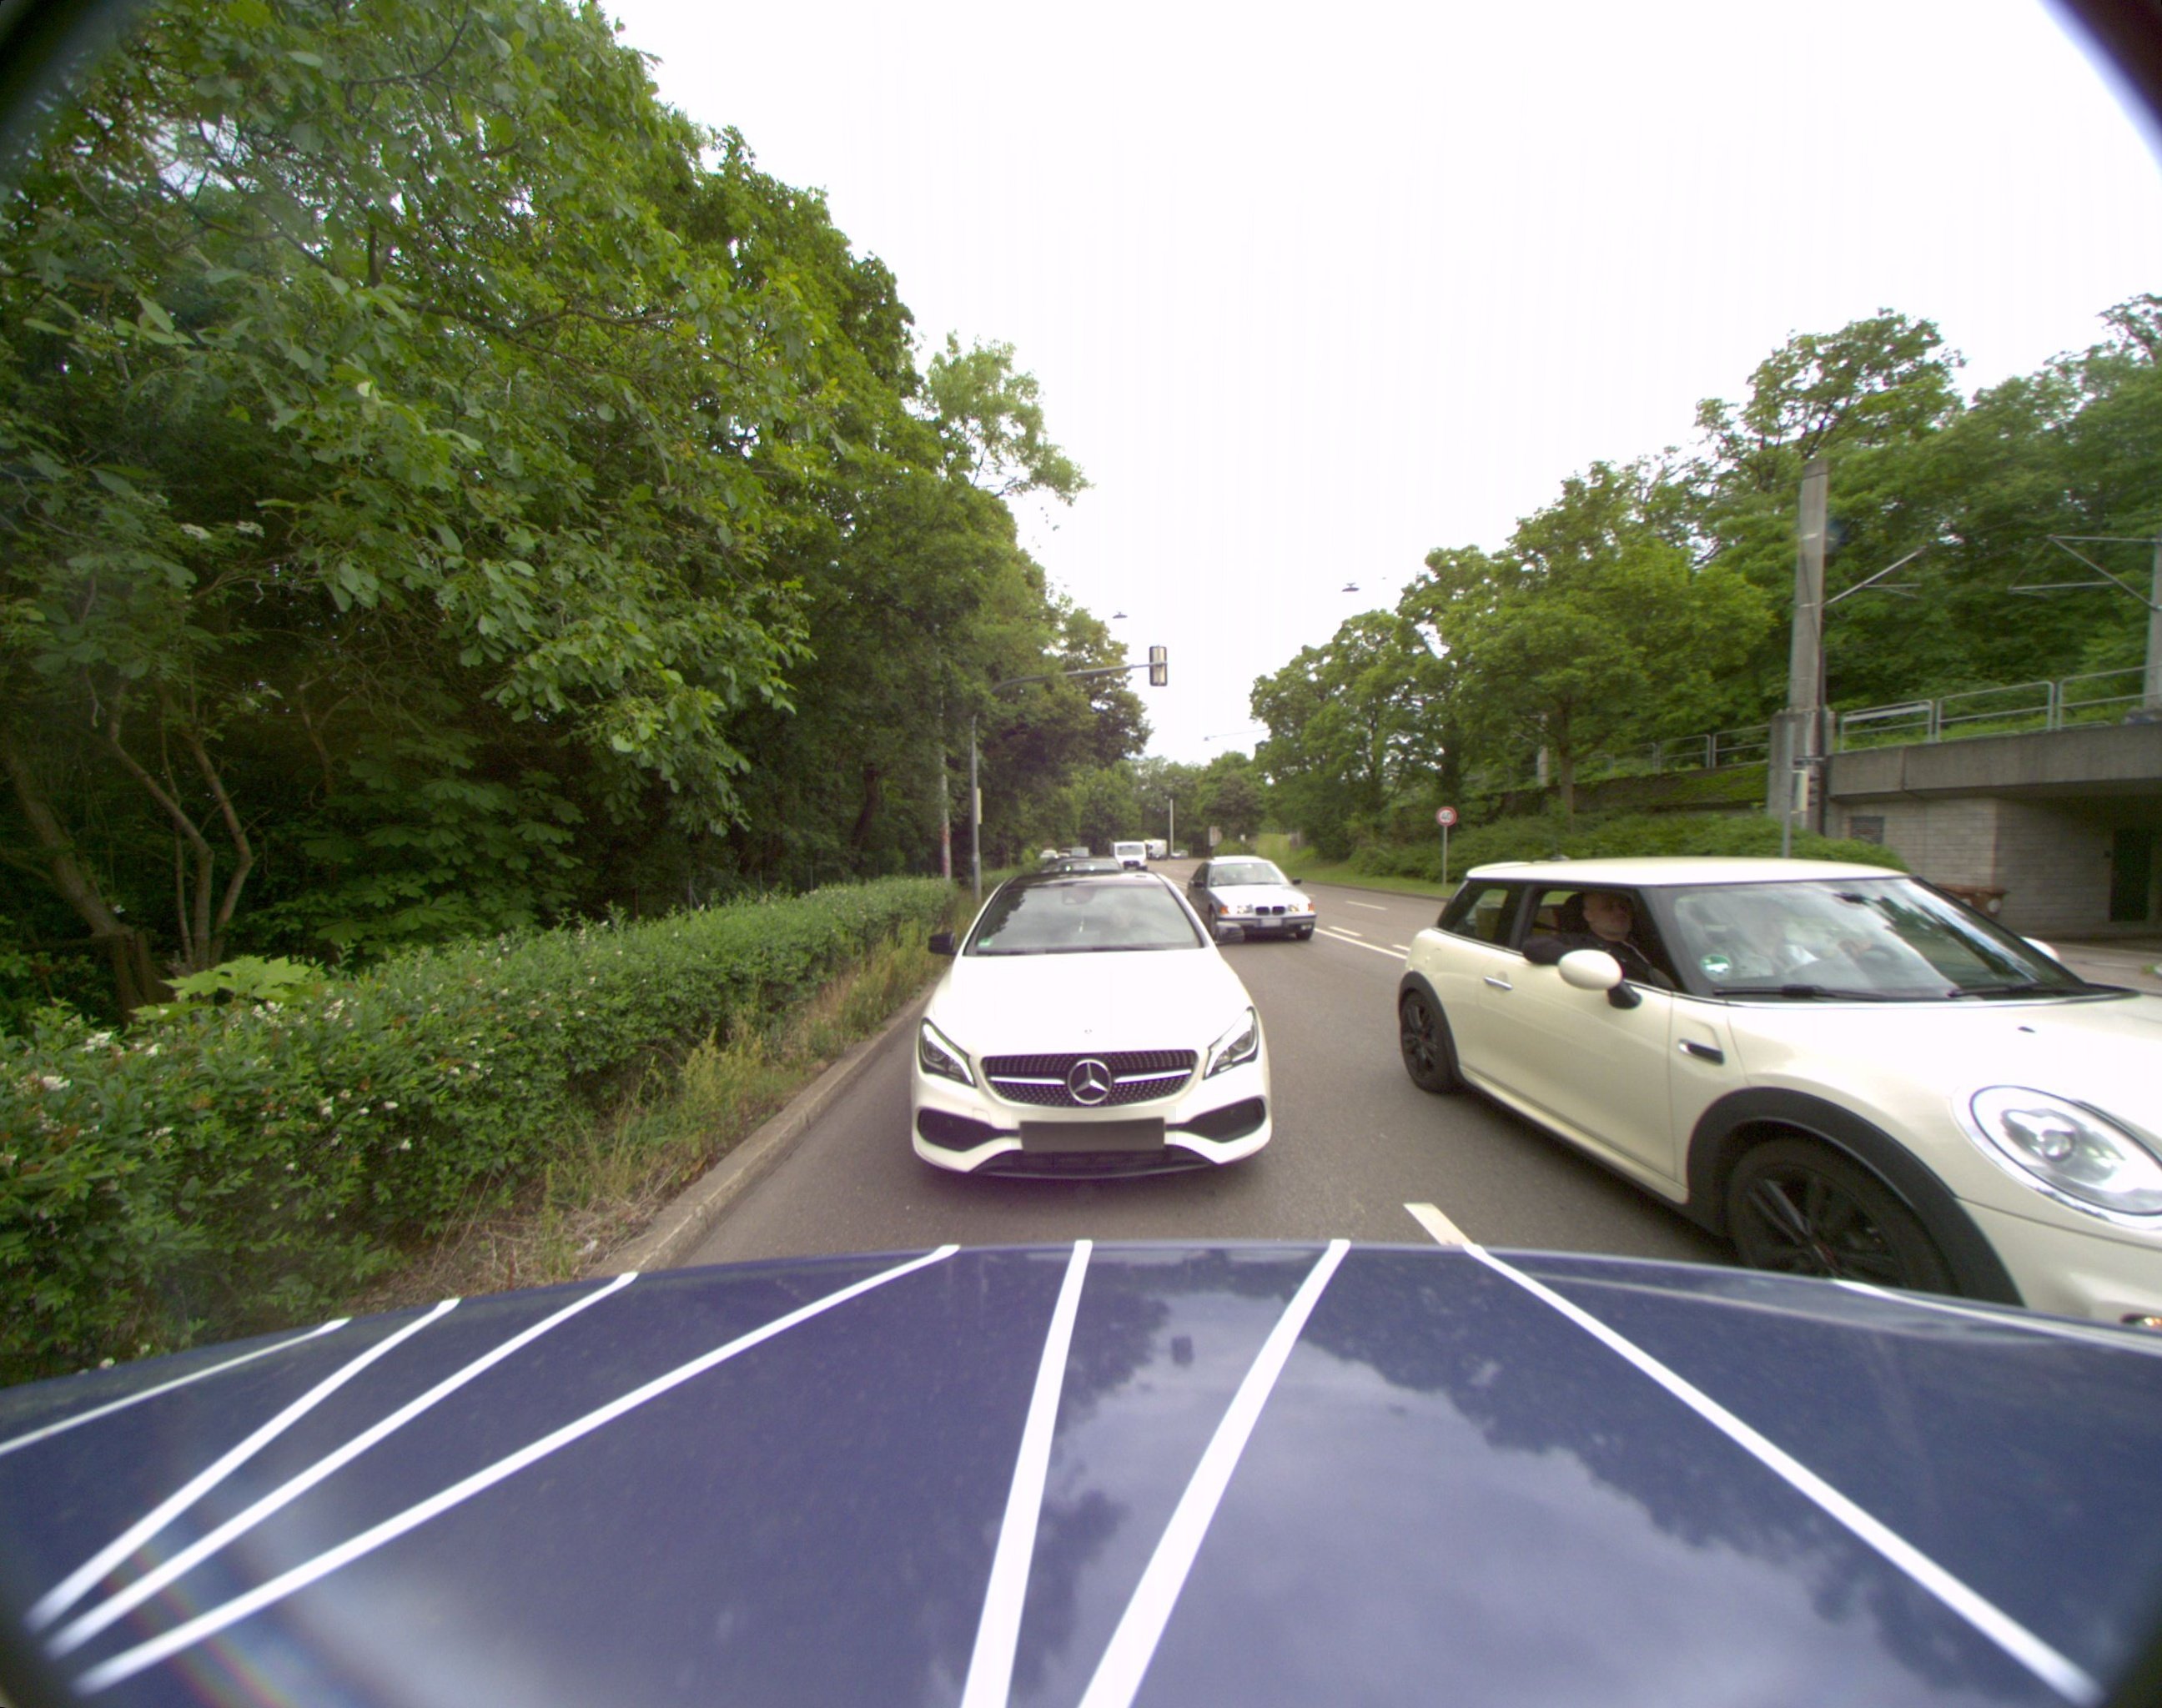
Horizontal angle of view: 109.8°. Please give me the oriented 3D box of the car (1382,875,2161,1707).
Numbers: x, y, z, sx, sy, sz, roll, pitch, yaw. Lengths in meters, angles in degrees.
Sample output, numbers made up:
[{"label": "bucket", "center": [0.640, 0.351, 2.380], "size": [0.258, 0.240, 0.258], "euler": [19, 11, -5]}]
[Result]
[{"label": "car", "center": [2.847, 0.876, 3.111], "size": [1.688, 1.415, 3.732], "euler": [-1, 0, -1]}]

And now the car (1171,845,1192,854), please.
[{"label": "car", "center": [17.245, -0.746, 130.415], "size": [1.751, 1.354, 4.019], "euler": [4, 1, 35]}]

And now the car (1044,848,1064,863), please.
[{"label": "car", "center": [-2.676, 0.112, 74.840], "size": [1.765, 1.433, 3.891], "euler": [1, 0, 0]}]

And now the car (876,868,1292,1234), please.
[{"label": "car", "center": [0.039, 0.923, 5.406], "size": [1.801, 1.470, 4.010], "euler": [-2, 0, 1]}]

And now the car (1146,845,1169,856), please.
[{"label": "car", "center": [11.799, -0.522, 116.775], "size": [1.850, 1.641, 4.366], "euler": [1, 1, 31]}]

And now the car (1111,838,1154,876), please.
[{"label": "car", "center": [3.209, 0.169, 48.489], "size": [2.285, 2.187, 6.458], "euler": [-1, 0, 0]}]

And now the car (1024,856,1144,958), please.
[{"label": "car", "center": [0.079, 0.817, 13.618], "size": [1.755, 1.417, 4.010], "euler": [3, 1, 1]}]

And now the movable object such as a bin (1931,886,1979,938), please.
[{"label": "movable object such as a bin", "center": [18.365, 1.218, 15.973], "size": [0.419, 1.057, 0.503], "euler": [0, 1, -4]}]

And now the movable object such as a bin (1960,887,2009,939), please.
[{"label": "movable object such as a bin", "center": [19.036, 1.236, 16.013], "size": [0.419, 1.057, 0.503], "euler": [0, 1, -4]}]

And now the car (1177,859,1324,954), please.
[{"label": "car", "center": [2.897, 0.821, 13.851], "size": [1.664, 1.382, 4.182], "euler": [-1, 0, -1]}]

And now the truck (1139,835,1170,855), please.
[{"label": "truck", "center": [11.899, -1.419, 122.730], "size": [2.195, 3.137, 6.665], "euler": [2, 1, 33]}]

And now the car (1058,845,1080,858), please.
[{"label": "car", "center": [-1.412, -0.298, 89.976], "size": [1.754, 1.575, 4.013], "euler": [1, 0, 10]}]

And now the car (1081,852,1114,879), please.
[{"label": "car", "center": [0.882, 0.627, 43.243], "size": [1.765, 1.433, 3.891], "euler": [1, 0, 0]}]
